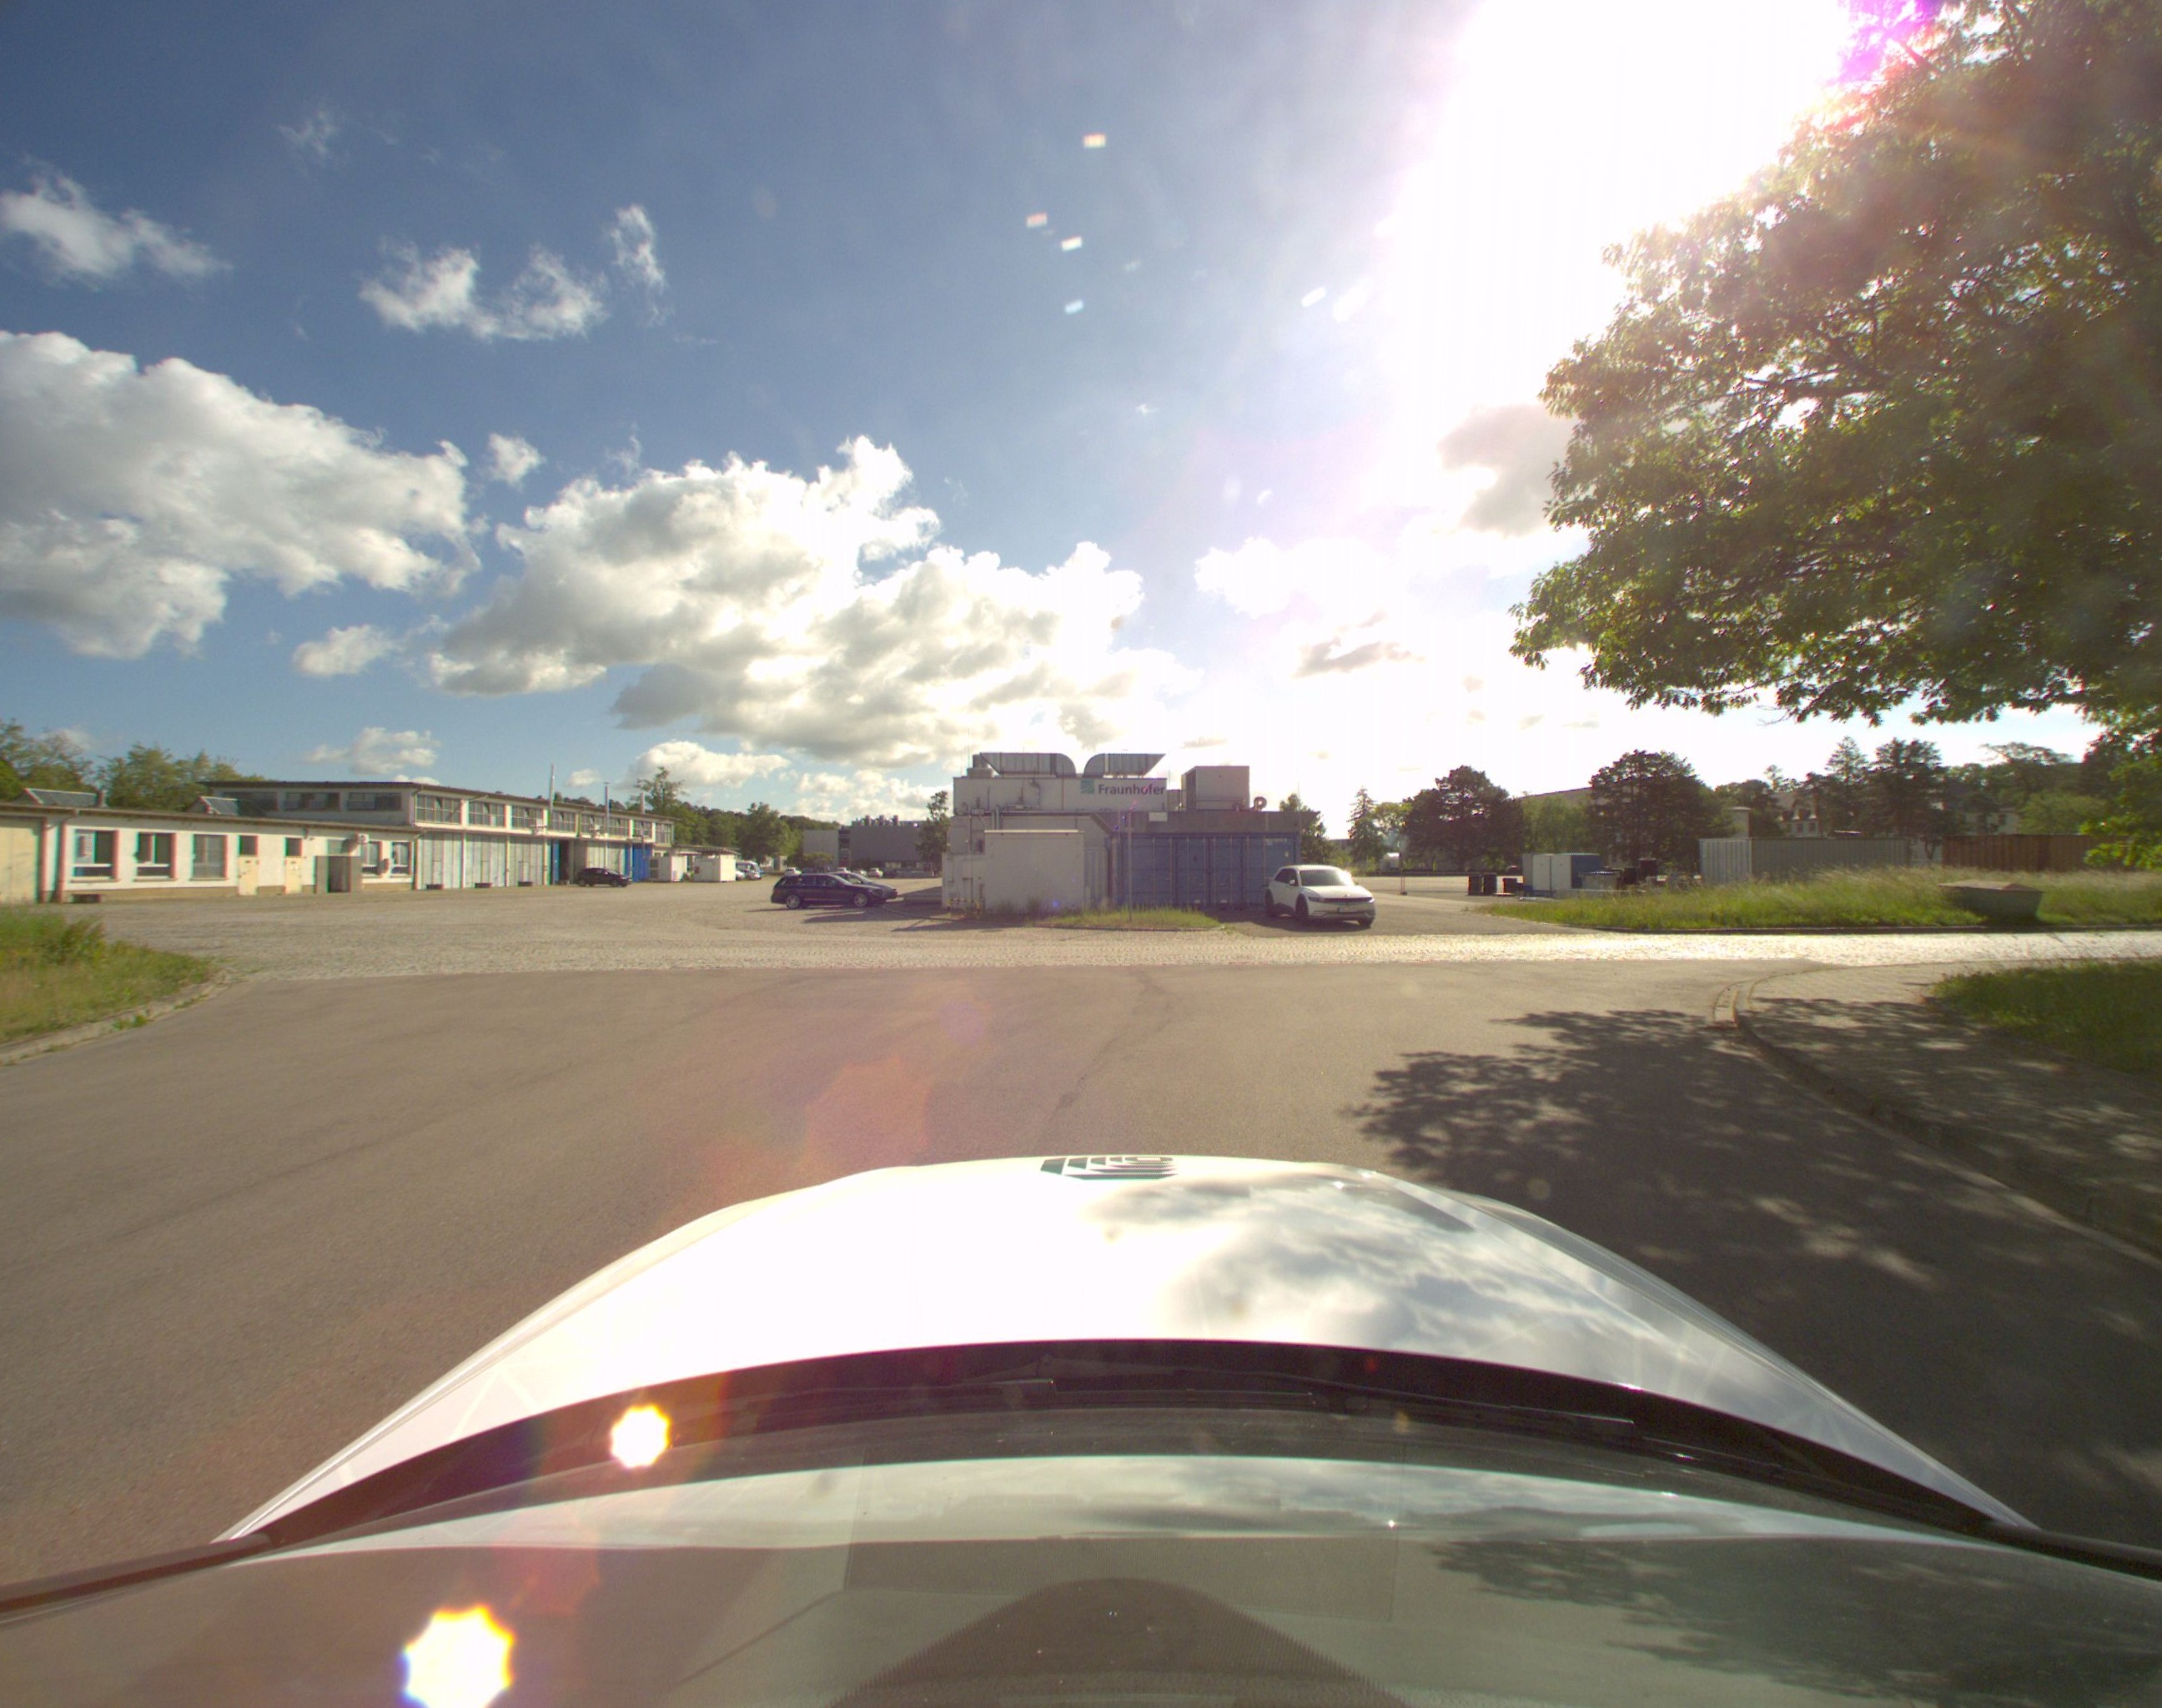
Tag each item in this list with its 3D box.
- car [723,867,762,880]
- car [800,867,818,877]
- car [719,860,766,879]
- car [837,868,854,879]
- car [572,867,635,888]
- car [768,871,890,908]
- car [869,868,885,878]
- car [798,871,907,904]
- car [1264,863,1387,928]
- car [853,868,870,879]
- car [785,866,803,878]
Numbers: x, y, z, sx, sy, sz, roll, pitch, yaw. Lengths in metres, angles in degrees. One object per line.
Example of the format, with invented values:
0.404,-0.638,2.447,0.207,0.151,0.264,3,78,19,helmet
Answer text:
-42.637,2.422,102.518,4.096,1.631,1.807,0,-1,0,car
-42.983,2.836,128.862,1.876,1.537,4.023,-2,-1,-8,car
-43.787,2.034,105.388,5.240,2.442,2.049,0,-1,0,car
-37.441,3.106,129.508,1.875,1.689,4.027,-2,-1,-6,car
-40.525,2.002,69.192,4.156,1.666,1.780,1,-2,-6,car
-10.566,1.509,34.416,4.520,1.443,1.984,-1,-3,-4,car
-32.573,2.999,129.937,1.875,1.537,4.027,-2,-1,-6,car
-10.518,1.561,37.682,4.520,1.443,1.901,-1,-3,-4,car
6.777,1.087,23.080,1.977,1.593,4.334,0,0,-4,car
-34.876,3.082,129.545,1.875,1.537,4.027,-2,-1,-6,car
-45.433,2.866,128.800,1.846,1.668,4.121,-2,-1,-8,car
